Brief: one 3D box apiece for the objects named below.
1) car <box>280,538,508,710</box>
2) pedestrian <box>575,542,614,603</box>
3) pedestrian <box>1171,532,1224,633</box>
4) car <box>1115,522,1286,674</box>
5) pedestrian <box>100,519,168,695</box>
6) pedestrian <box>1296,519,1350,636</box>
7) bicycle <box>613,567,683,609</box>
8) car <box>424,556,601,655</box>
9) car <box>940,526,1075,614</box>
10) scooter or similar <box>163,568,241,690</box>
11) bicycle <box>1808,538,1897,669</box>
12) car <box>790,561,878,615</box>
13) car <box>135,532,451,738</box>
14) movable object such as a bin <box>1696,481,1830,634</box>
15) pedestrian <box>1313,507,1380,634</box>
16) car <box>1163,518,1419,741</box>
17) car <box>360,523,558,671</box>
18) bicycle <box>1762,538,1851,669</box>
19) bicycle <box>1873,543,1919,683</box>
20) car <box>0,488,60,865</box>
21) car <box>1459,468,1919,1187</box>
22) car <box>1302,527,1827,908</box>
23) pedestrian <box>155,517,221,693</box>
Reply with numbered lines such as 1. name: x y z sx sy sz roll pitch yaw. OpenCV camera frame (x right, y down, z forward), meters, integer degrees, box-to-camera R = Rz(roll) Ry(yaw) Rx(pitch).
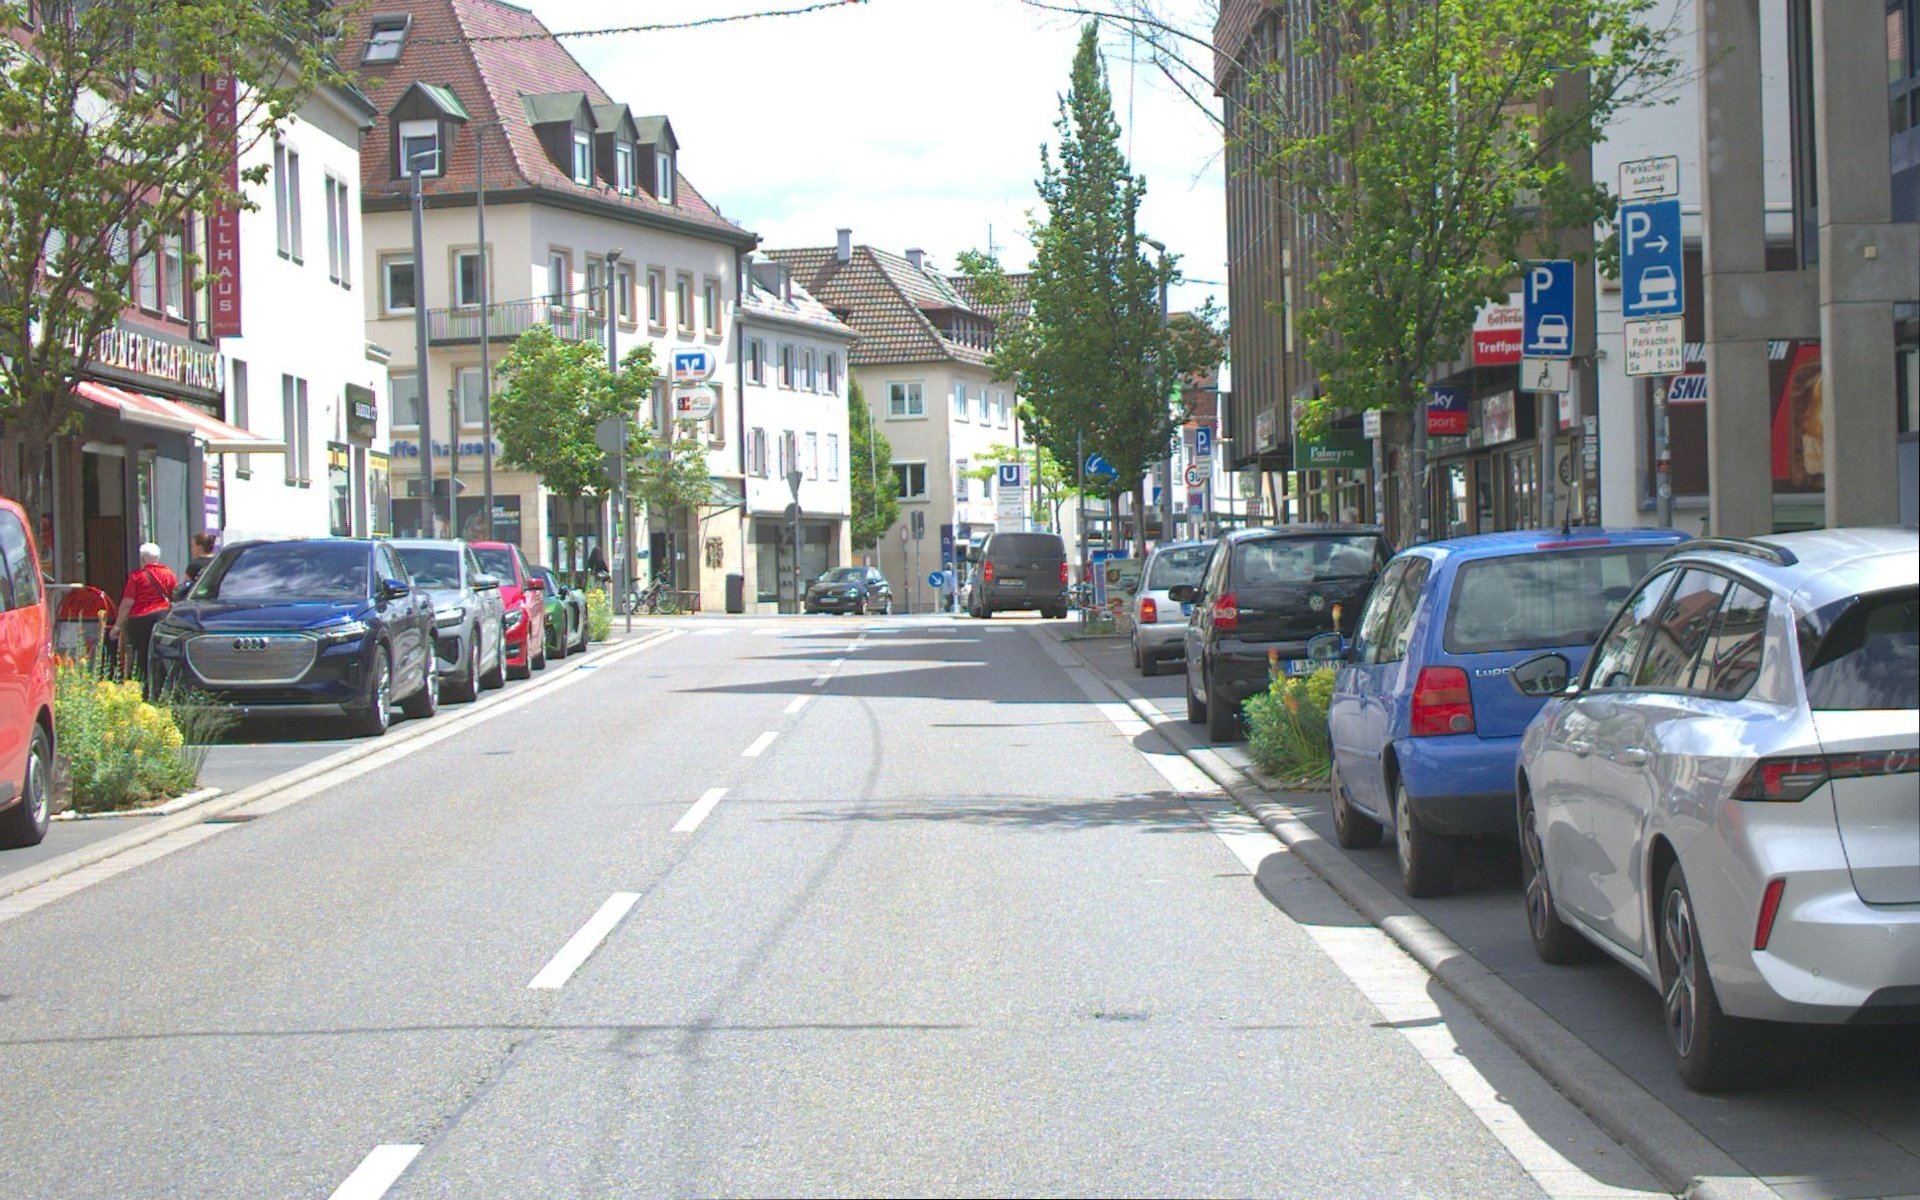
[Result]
1. car: -5.659 0.189 34.811 1.799 1.598 4.352 -1 1 -3
2. pedestrian: -9.256 -0.694 87.003 0.627 1.527 0.857 0 0 24
3. pedestrian: 3.844 -0.285 55.658 0.784 1.610 0.800 0 0 0
4. car: 2.632 -0.055 38.304 1.609 1.490 3.795 -4 1 1
5. pedestrian: -7.775 0.061 32.357 0.501 1.642 0.574 0 0 -1
6. pedestrian: 5.624 -0.349 53.288 0.737 1.808 0.711 0 0 0
7. bicycle: -7.697 -0.303 84.850 1.633 1.027 0.567 0 0 15
8. car: -6.045 0.040 46.878 1.819 1.219 4.524 1 1 0
9. car: 1.002 -0.646 75.340 2.040 1.842 5.000 0 0 -10
10. scooter or similar: -7.270 0.272 33.000 0.562 1.147 0.985 0 0 -3
11. bicycle: 7.819 0.027 30.156 0.425 1.115 1.502 0 0 2
12. car: -3.557 -0.345 97.613 1.625 1.481 3.803 0 0 11
13. car: -5.538 0.231 29.055 1.799 1.592 4.389 -1 1 0
14. movable object such as a bin: 8.116 -0.429 34.791 1.142 1.522 1.032 0 0 3
15. pedestrian: 5.236 -0.399 46.554 0.655 1.701 0.647 0 0 -23
16. car: 2.450 0.173 26.215 1.609 1.527 3.795 -2 1 1
17. car: -5.776 -0.073 40.080 1.799 1.598 4.219 -1 1 -2
18. bicycle: 7.359 0.017 29.921 0.425 1.077 1.502 -2 1 2
19. bicycle: 7.875 0.101 28.066 0.425 1.115 1.741 0 0 2
20. car: -5.626 0.382 16.311 1.816 1.882 4.842 0 0 -5
21. car: 2.661 0.436 10.076 1.721 1.571 4.429 -4 2 1
22. car: 2.582 0.451 15.598 1.721 1.488 4.109 0 0 1
23. pedestrian: -7.240 0.046 32.252 0.514 1.642 0.472 0 0 -2
